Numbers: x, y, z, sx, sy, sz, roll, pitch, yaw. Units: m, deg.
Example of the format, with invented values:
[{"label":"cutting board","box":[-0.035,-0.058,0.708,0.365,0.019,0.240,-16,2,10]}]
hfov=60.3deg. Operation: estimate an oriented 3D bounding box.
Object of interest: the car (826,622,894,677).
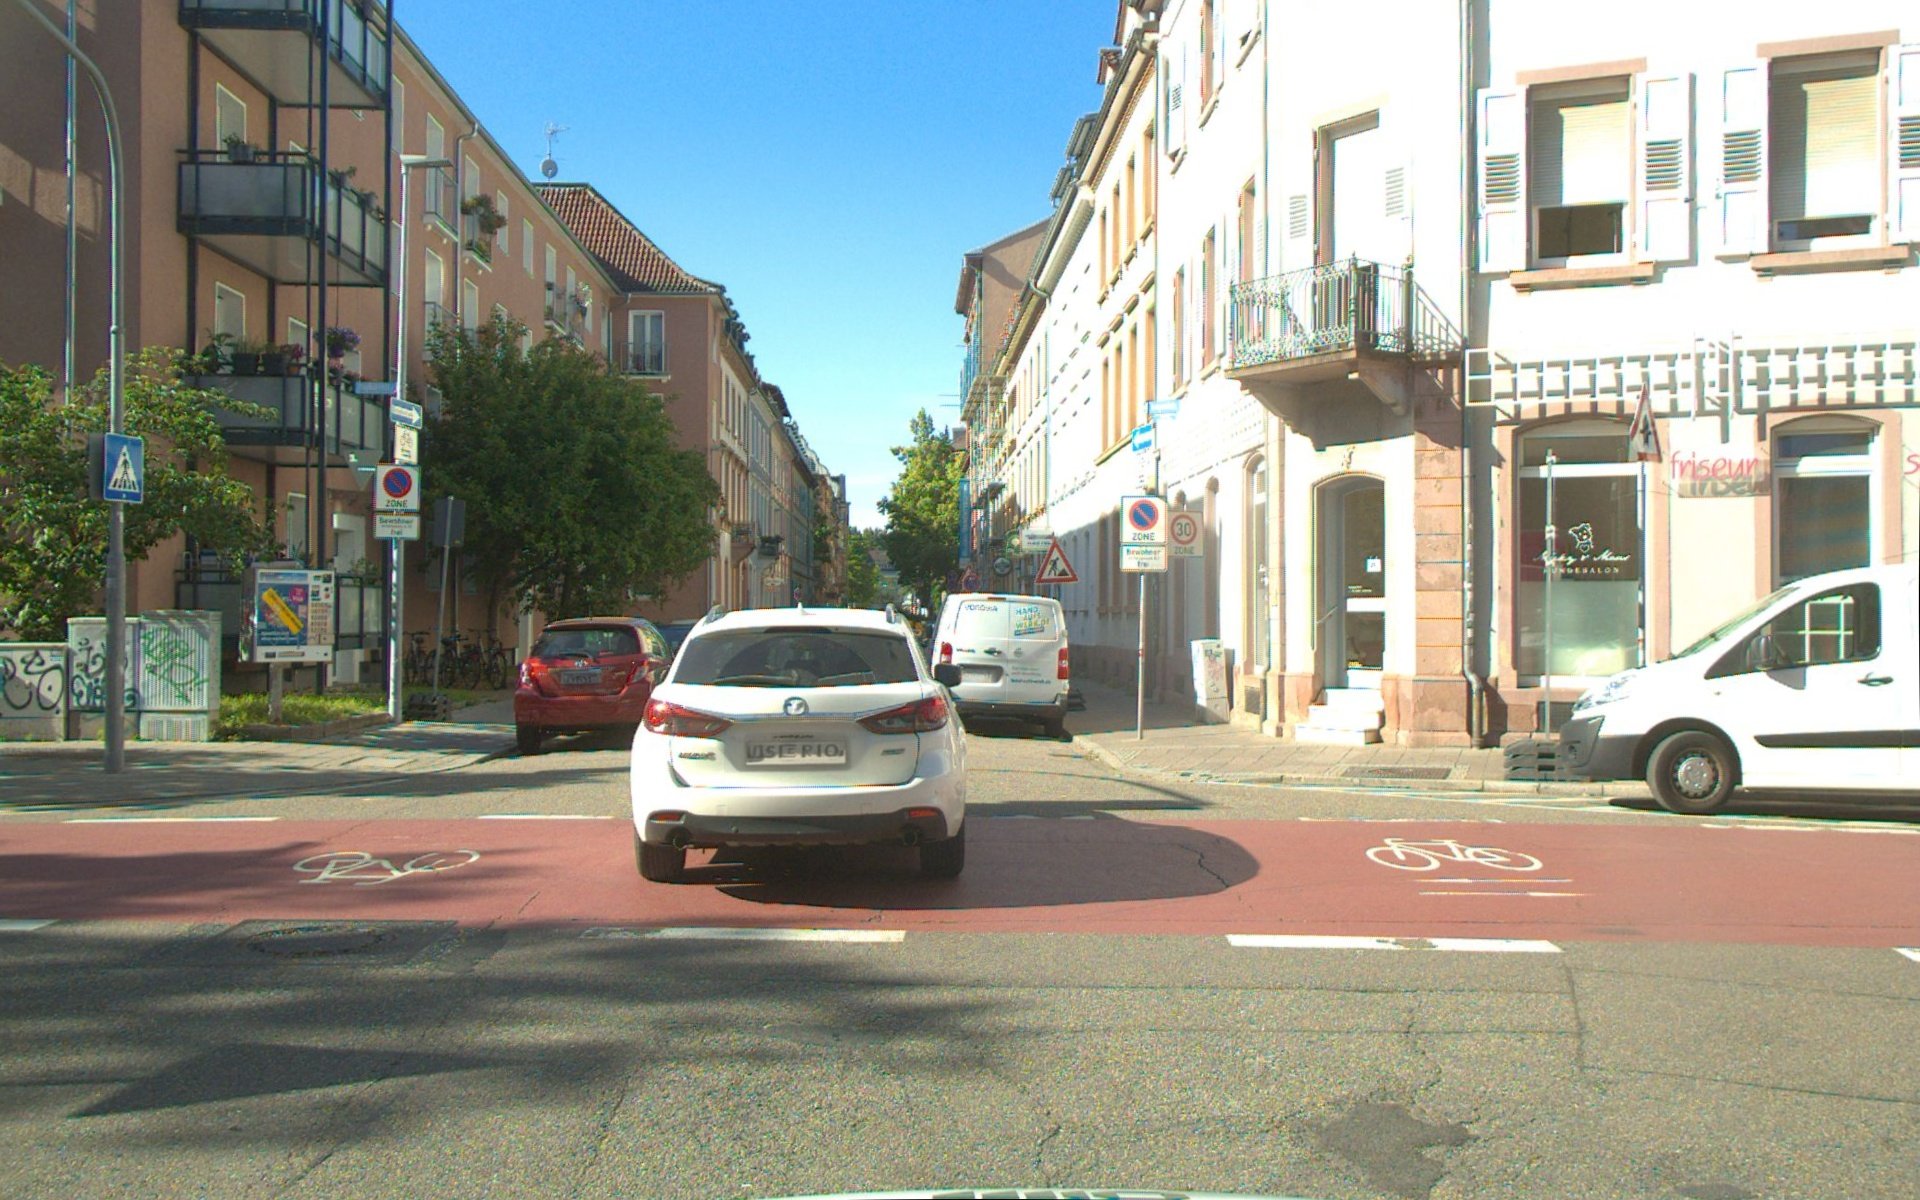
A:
[{"label":"car","box":[-2.738,1.347,46.021,1.725,1.435,4.326,0,-1,-1]}]

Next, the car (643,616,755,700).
[{"label":"car","box":[-4.935,1.070,31.714,1.620,1.526,3.761,0,-1,-1]}]

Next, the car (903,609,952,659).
[{"label":"car","box":[-1.288,1.319,65.442,1.856,1.892,3.993,0,-1,-1]}]

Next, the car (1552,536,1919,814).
[{"label":"car","box":[7.218,0.549,12.750,4.907,1.980,2.050,0,-1,23]}]

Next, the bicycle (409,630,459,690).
[{"label":"bicycle","box":[-9.870,1.113,31.034,1.193,1.091,0.265,0,-1,38]}]

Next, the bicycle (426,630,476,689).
[{"label":"bicycle","box":[-9.643,1.122,31.315,1.193,1.089,0.252,0,-1,38]}]

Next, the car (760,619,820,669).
[{"label":"car","box":[-5.409,1.382,53.053,1.620,1.526,3.761,0,-1,-1]}]

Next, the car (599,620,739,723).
[{"label":"car","box":[-4.609,1.095,26.707,1.620,1.526,4.078,0,-1,-1]}]

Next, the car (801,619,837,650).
[{"label":"car","box":[-7.154,1.731,84.112,1.620,1.526,3.761,0,-1,-1]}]

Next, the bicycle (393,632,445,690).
[{"label":"bicycle","box":[-10.068,1.134,30.779,1.193,1.053,0.290,0,-1,38]}]

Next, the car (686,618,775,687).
[{"label":"car","box":[-5.290,1.191,38.539,1.620,1.526,3.761,0,-1,-1]}]

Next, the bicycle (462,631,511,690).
[{"label":"bicycle","box":[-9.061,1.149,31.640,1.196,1.090,0.252,0,-1,38]}]

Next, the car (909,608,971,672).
[{"label":"car","box":[-0.669,1.292,54.804,1.857,1.891,3.993,-4,-1,-1]}]

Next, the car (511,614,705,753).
[{"label":"car","box":[-4.267,0.962,20.577,1.651,1.526,3.805,-1,-1,-1]}]

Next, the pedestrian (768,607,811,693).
[{"label":"pedestrian","box":[-3.288,0.955,31.930,0.720,1.642,0.813,0,-1,-14]}]

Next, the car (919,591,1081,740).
[{"label":"car","box":[0.473,0.893,24.327,1.857,1.892,5.009,2,-1,-4]}]

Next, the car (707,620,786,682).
[{"label":"car","box":[-5.433,1.278,42.451,1.620,1.526,3.761,0,-1,-1]}]

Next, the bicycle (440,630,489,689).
[{"label":"bicycle","box":[-9.458,1.126,31.556,1.193,1.090,0.252,0,-1,38]}]

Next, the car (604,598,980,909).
[{"label":"car","box":[-0.850,0.763,9.913,1.794,1.482,3.961,0,-1,-1]}]
